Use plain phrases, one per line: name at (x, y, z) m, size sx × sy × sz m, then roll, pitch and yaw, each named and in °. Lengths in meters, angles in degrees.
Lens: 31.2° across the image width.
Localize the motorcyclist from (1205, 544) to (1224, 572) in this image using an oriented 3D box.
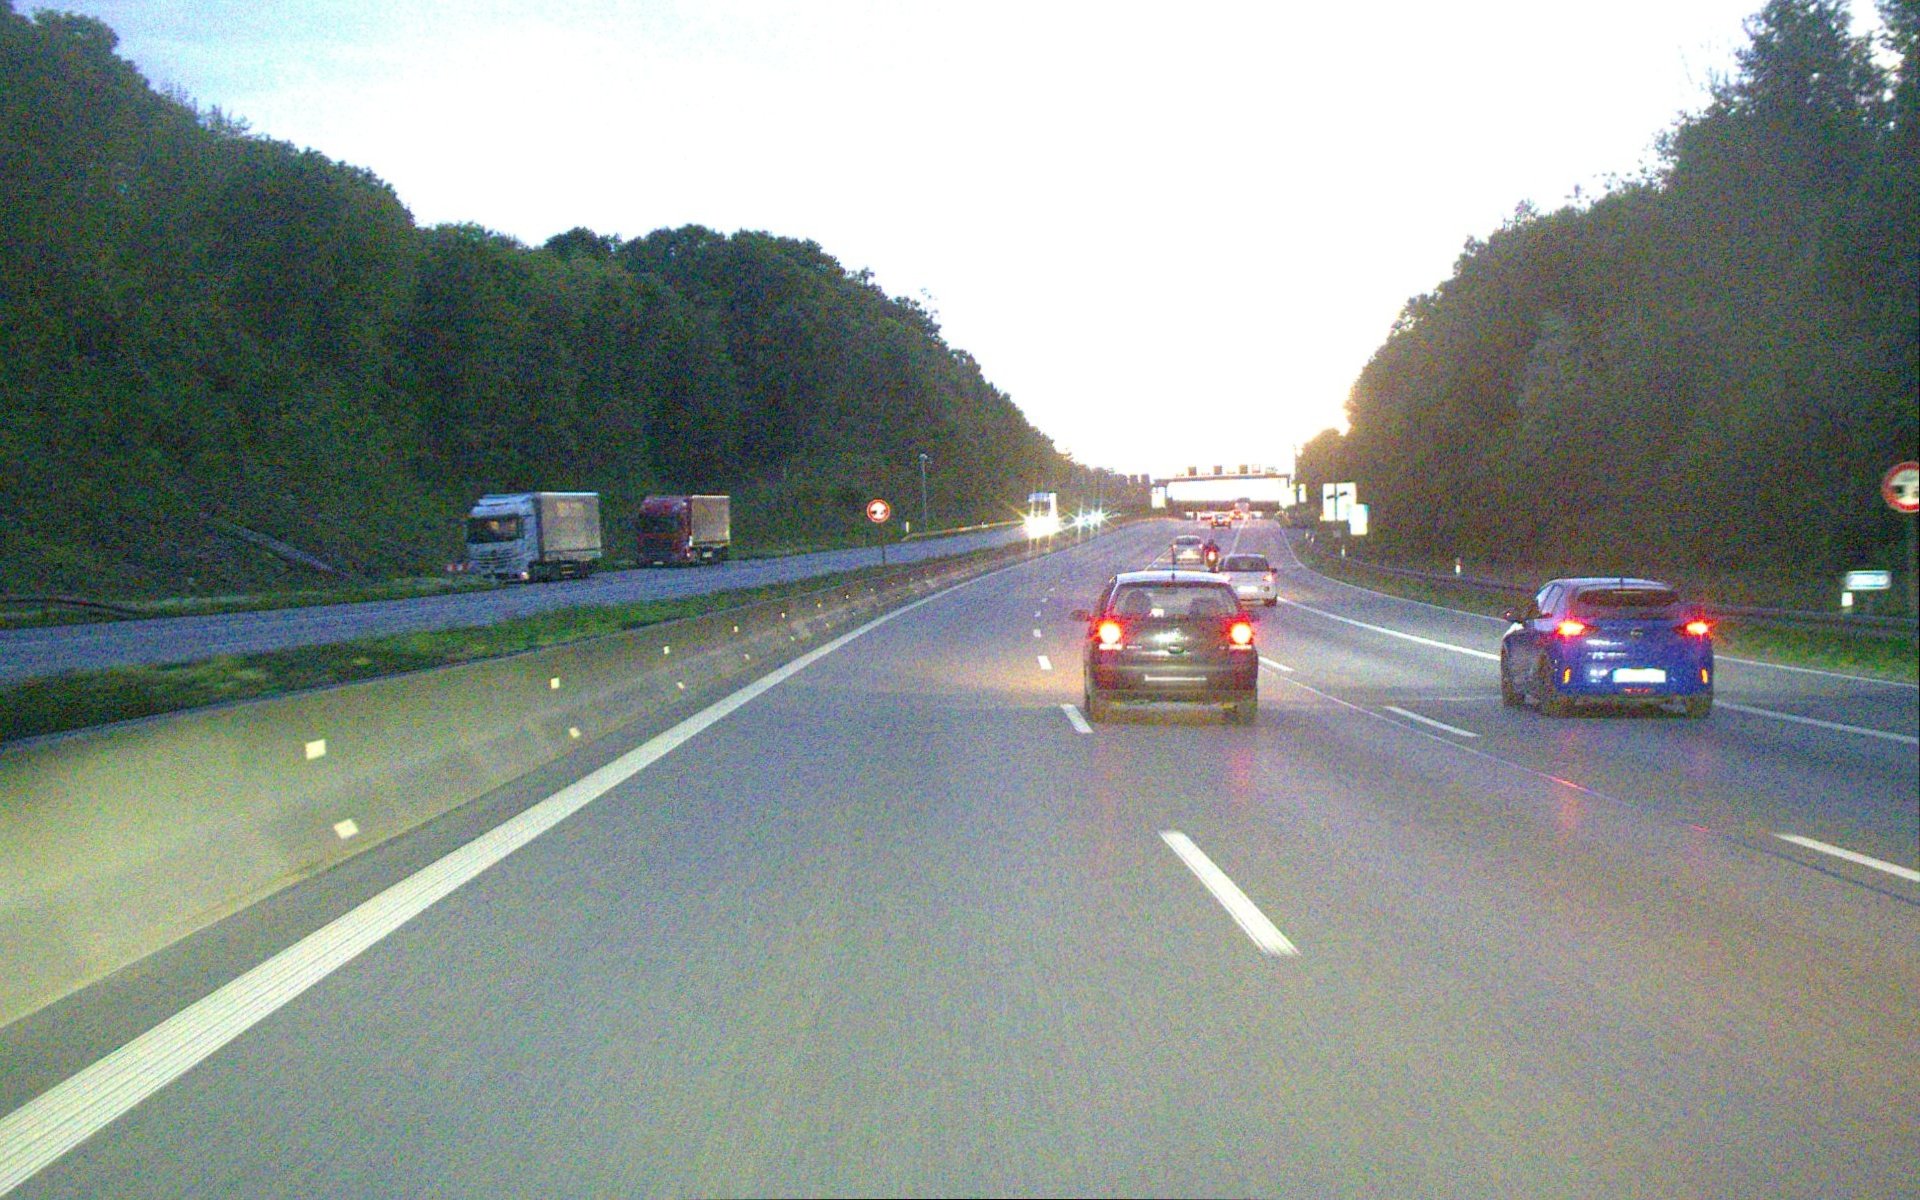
motorcyclist at (11.823, -1.971, 159.683) m, size 0.830 × 1.287 × 1.190 m, roll -1°, pitch 1°, yaw 5°

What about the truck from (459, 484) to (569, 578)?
truck at (-19.963, -3.102, 154.275) m, size 3.191 × 4.090 × 7.688 m, roll 0°, pitch 1°, yaw 6°

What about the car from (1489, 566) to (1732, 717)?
car at (6.822, 0.391, 36.486) m, size 1.865 × 1.431 × 4.584 m, roll 0°, pitch 1°, yaw 2°

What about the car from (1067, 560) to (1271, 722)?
car at (2.031, 0.368, 34.392) m, size 1.704 × 1.504 × 4.232 m, roll 0°, pitch 0°, yaw -1°

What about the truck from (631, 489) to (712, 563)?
truck at (-16.335, -4.209, 194.987) m, size 3.191 × 4.090 × 7.688 m, roll 0°, pitch 1°, yaw 6°

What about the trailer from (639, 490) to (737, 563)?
trailer at (-15.775, -4.254, 200.560) m, size 3.191 × 4.090 × 14.181 m, roll 0°, pitch 1°, yaw 6°

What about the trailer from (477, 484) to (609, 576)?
trailer at (-19.360, -3.267, 160.602) m, size 3.191 × 4.090 × 13.738 m, roll 0°, pitch 1°, yaw 6°

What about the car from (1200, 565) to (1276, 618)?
car at (7.867, -0.261, 97.608) m, size 1.825 × 1.470 × 4.399 m, roll 0°, pitch 0°, yaw 1°

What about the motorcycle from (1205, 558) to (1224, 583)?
motorcycle at (11.842, -1.392, 159.758) m, size 0.830 × 1.130 × 2.475 m, roll -1°, pitch 1°, yaw 5°

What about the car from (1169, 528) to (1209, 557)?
car at (12.055, -3.006, 181.107) m, size 1.865 × 1.489 × 4.399 m, roll 0°, pitch 0°, yaw 1°
